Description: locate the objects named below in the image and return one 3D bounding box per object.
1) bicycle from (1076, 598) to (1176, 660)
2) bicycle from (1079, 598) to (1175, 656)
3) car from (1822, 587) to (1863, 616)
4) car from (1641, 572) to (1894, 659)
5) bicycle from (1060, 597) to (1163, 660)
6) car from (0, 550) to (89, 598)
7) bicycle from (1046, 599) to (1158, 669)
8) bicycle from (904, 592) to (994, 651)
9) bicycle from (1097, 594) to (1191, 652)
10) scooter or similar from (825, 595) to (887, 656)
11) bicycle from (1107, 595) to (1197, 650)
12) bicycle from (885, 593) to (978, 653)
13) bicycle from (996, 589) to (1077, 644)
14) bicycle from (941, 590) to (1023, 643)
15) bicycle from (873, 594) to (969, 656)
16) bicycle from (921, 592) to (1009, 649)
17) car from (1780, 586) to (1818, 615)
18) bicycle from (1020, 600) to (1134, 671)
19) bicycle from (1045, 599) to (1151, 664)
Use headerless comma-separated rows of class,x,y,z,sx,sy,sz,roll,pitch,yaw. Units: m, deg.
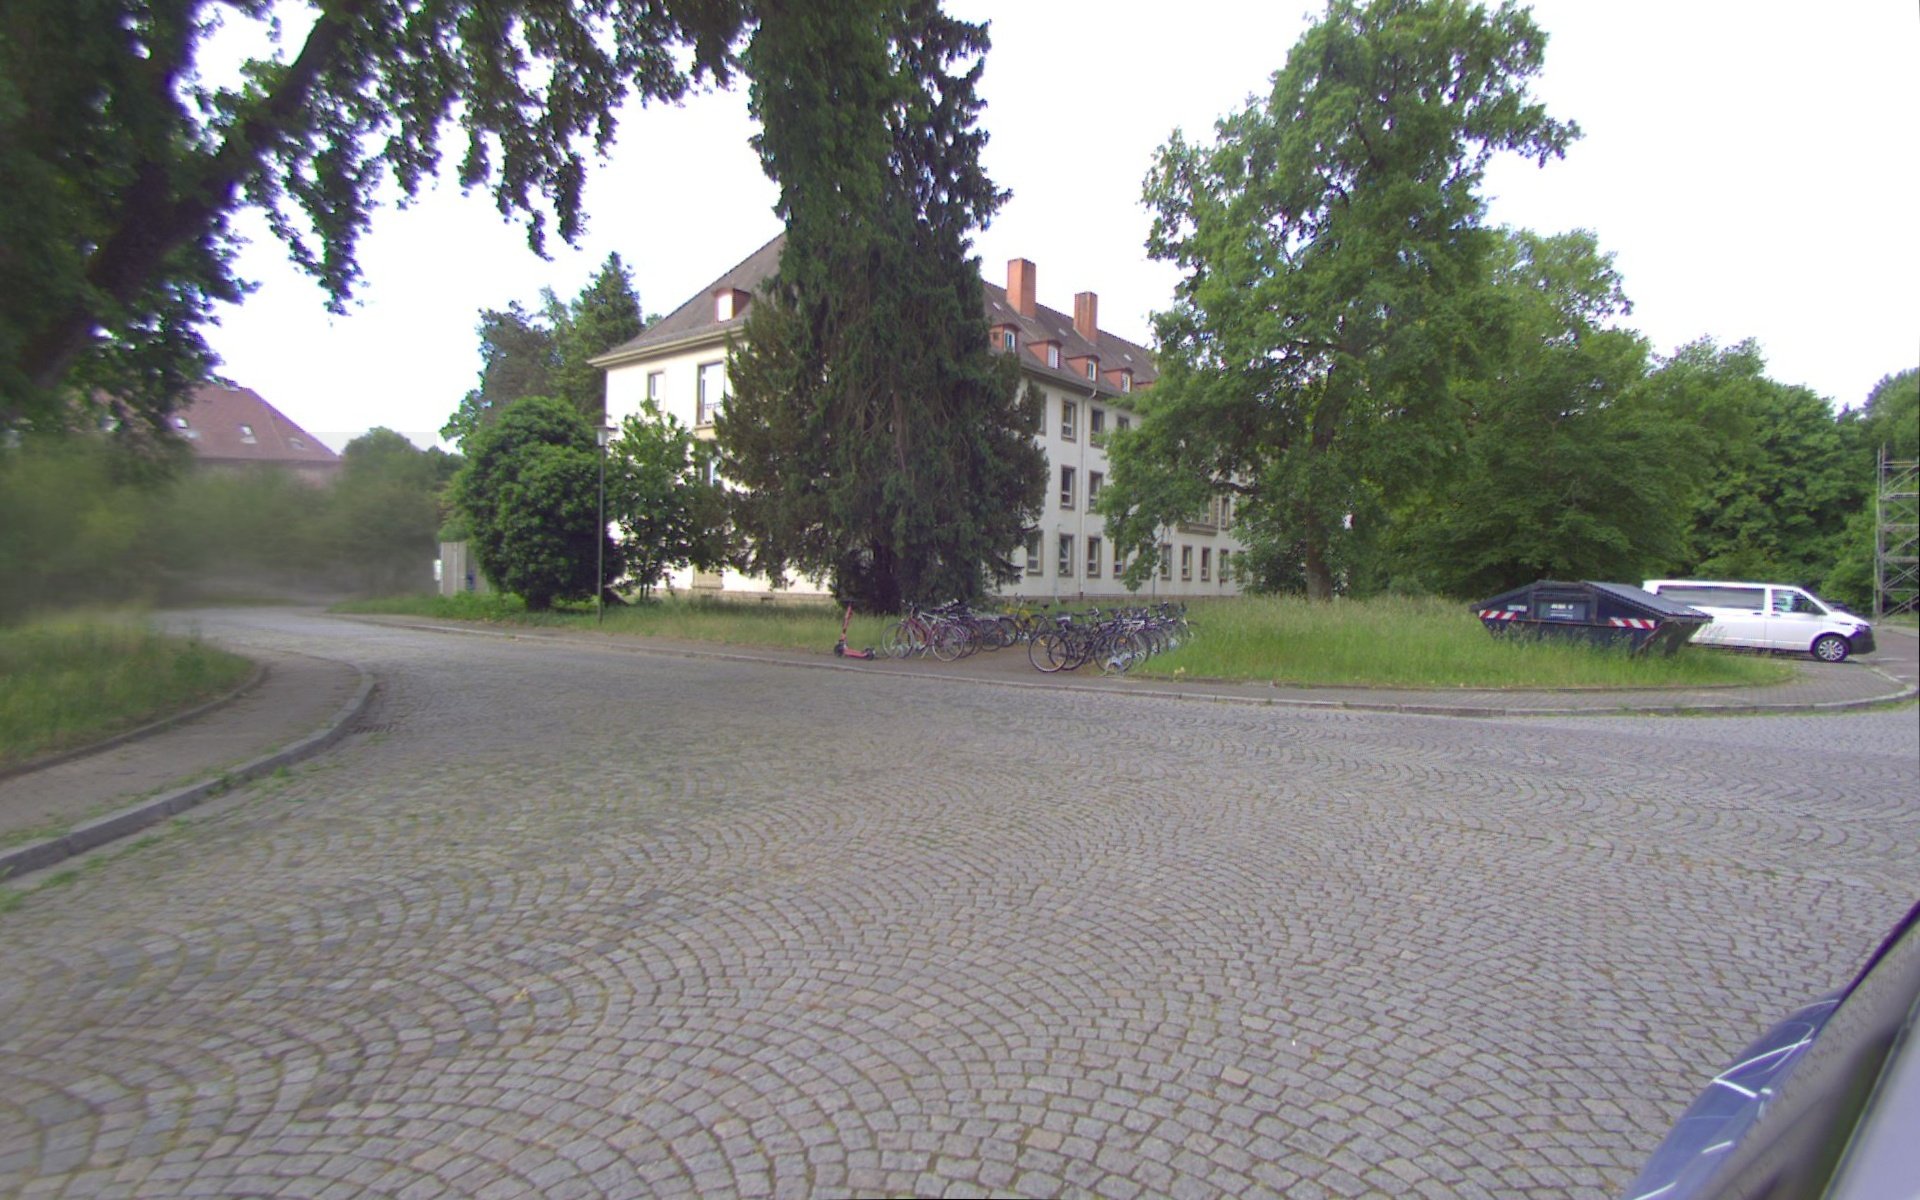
bicycle,3.289,0.560,20.050,1.913,1.185,0.485,0,0,17
bicycle,3.462,0.550,20.998,1.913,1.185,0.485,0,0,17
car,65.923,0.063,75.627,1.953,2.038,4.204,2,2,37
car,21.570,0.330,27.307,5.128,2.038,1.972,3,2,39
bicycle,2.892,0.538,19.382,1.911,1.185,0.486,0,0,14
car,-46.160,-1.279,49.724,1.914,2.333,4.871,2,1,38
bicycle,2.497,0.586,17.754,1.909,1.185,0.486,-1,0,12
bicycle,-0.239,0.444,21.212,1.835,1.185,0.485,1,0,18
bicycle,3.886,0.482,21.432,1.913,1.185,0.485,0,0,17
scooter or similar,-2.075,0.490,20.089,1.301,1.185,0.408,0,0,38
bicycle,4.297,0.499,22.673,1.917,1.185,0.533,0,0,23
bicycle,-0.573,0.452,20.578,1.832,1.185,0.486,1,0,14
bicycle,1.789,0.370,23.742,1.844,1.184,0.483,3,1,30
bicycle,0.504,0.380,23.354,1.829,1.185,0.487,1,0,10
bicycle,-0.761,0.484,20.009,1.832,1.185,0.486,1,0,14
bicycle,0.114,0.435,21.900,1.829,1.185,0.487,1,0,10
car,63.822,-0.001,77.038,1.953,2.038,4.204,2,2,37
bicycle,2.001,0.594,17.297,1.909,1.185,0.486,-1,0,12
bicycle,2.568,0.575,18.866,1.911,1.185,0.486,0,0,14
